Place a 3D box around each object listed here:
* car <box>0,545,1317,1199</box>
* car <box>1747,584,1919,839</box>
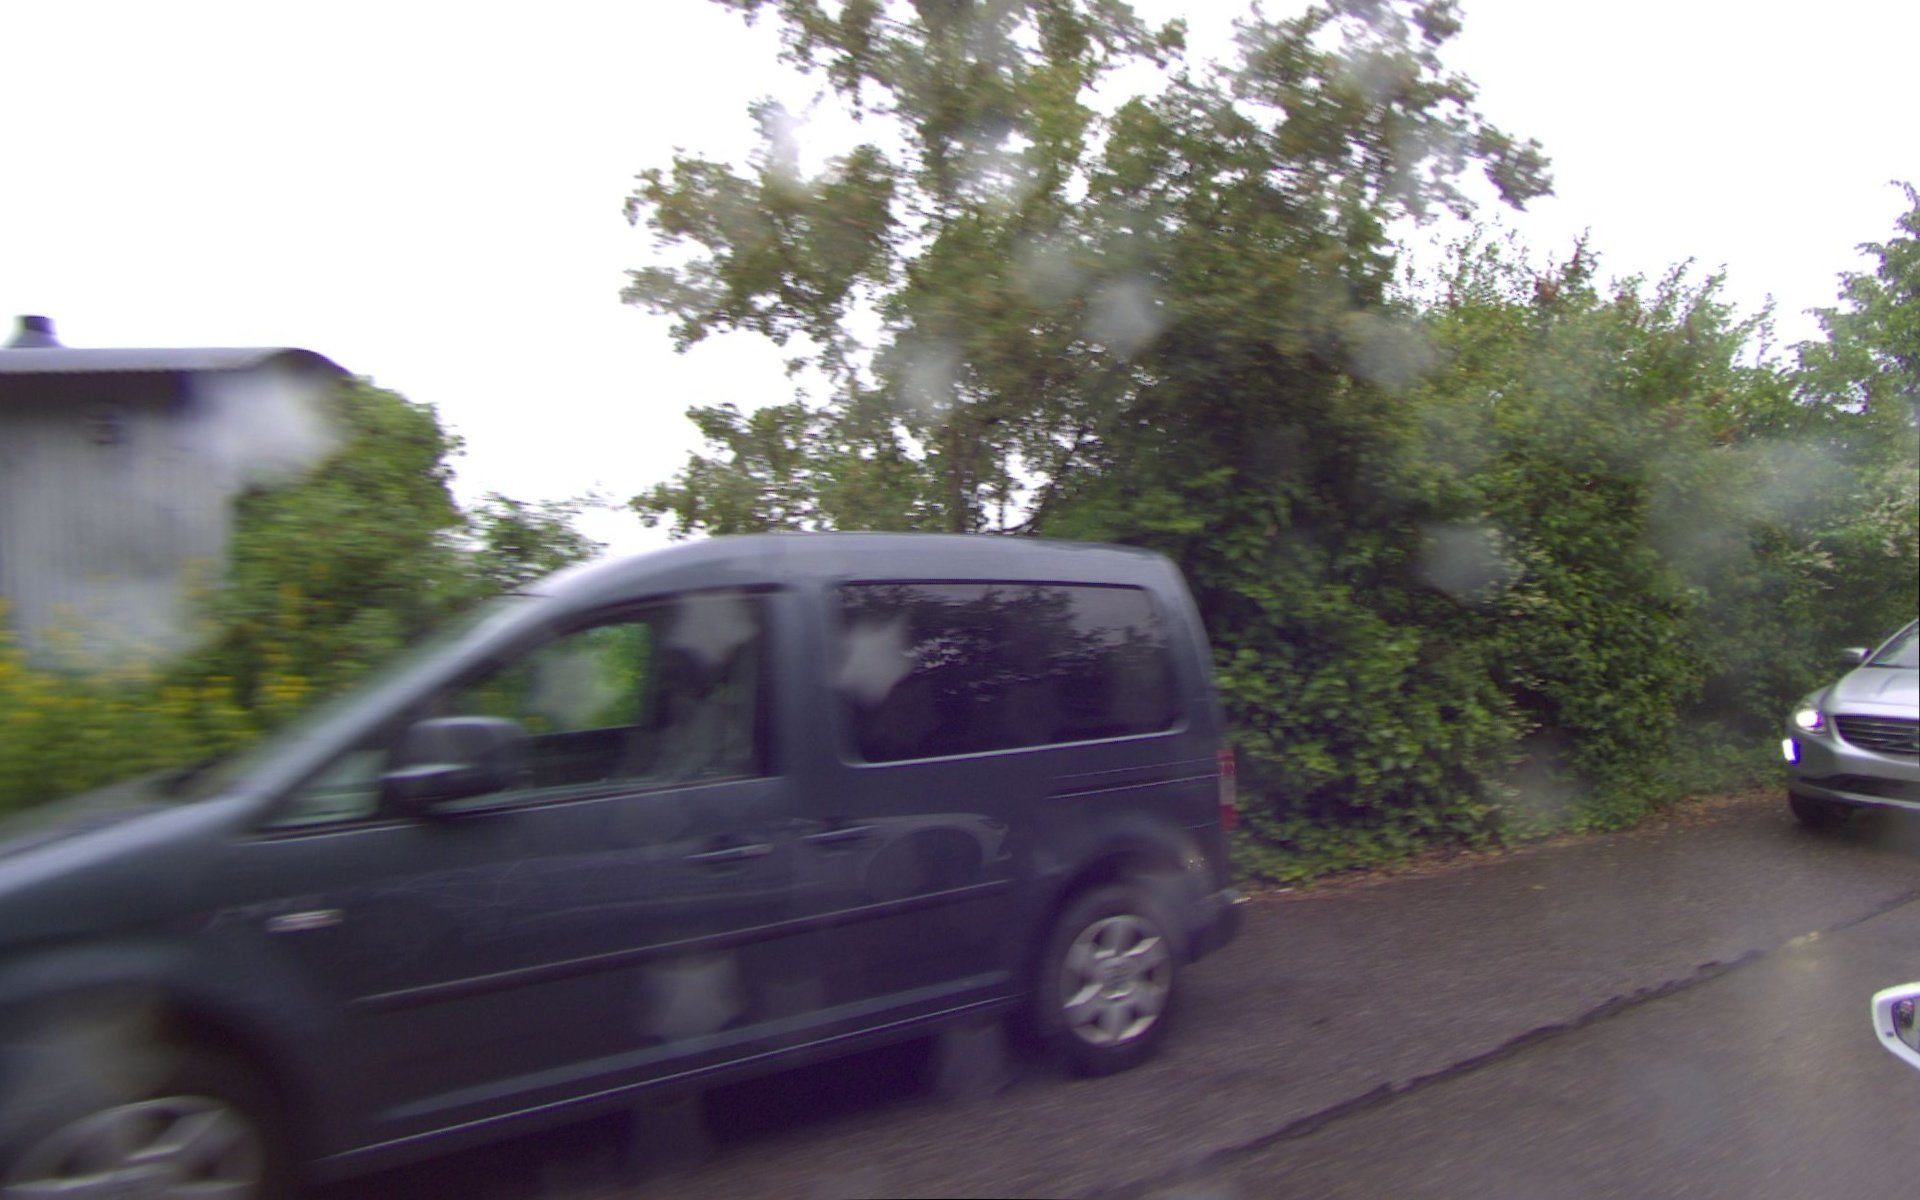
[{"bbox_3d":[-0.910,0.780,3.412,4.181,1.806,1.682,-1,0,-30],"label":"car"},{"bbox_3d":[7.949,0.714,7.404,4.180,1.622,2.037,0,1,-31],"label":"car"}]
